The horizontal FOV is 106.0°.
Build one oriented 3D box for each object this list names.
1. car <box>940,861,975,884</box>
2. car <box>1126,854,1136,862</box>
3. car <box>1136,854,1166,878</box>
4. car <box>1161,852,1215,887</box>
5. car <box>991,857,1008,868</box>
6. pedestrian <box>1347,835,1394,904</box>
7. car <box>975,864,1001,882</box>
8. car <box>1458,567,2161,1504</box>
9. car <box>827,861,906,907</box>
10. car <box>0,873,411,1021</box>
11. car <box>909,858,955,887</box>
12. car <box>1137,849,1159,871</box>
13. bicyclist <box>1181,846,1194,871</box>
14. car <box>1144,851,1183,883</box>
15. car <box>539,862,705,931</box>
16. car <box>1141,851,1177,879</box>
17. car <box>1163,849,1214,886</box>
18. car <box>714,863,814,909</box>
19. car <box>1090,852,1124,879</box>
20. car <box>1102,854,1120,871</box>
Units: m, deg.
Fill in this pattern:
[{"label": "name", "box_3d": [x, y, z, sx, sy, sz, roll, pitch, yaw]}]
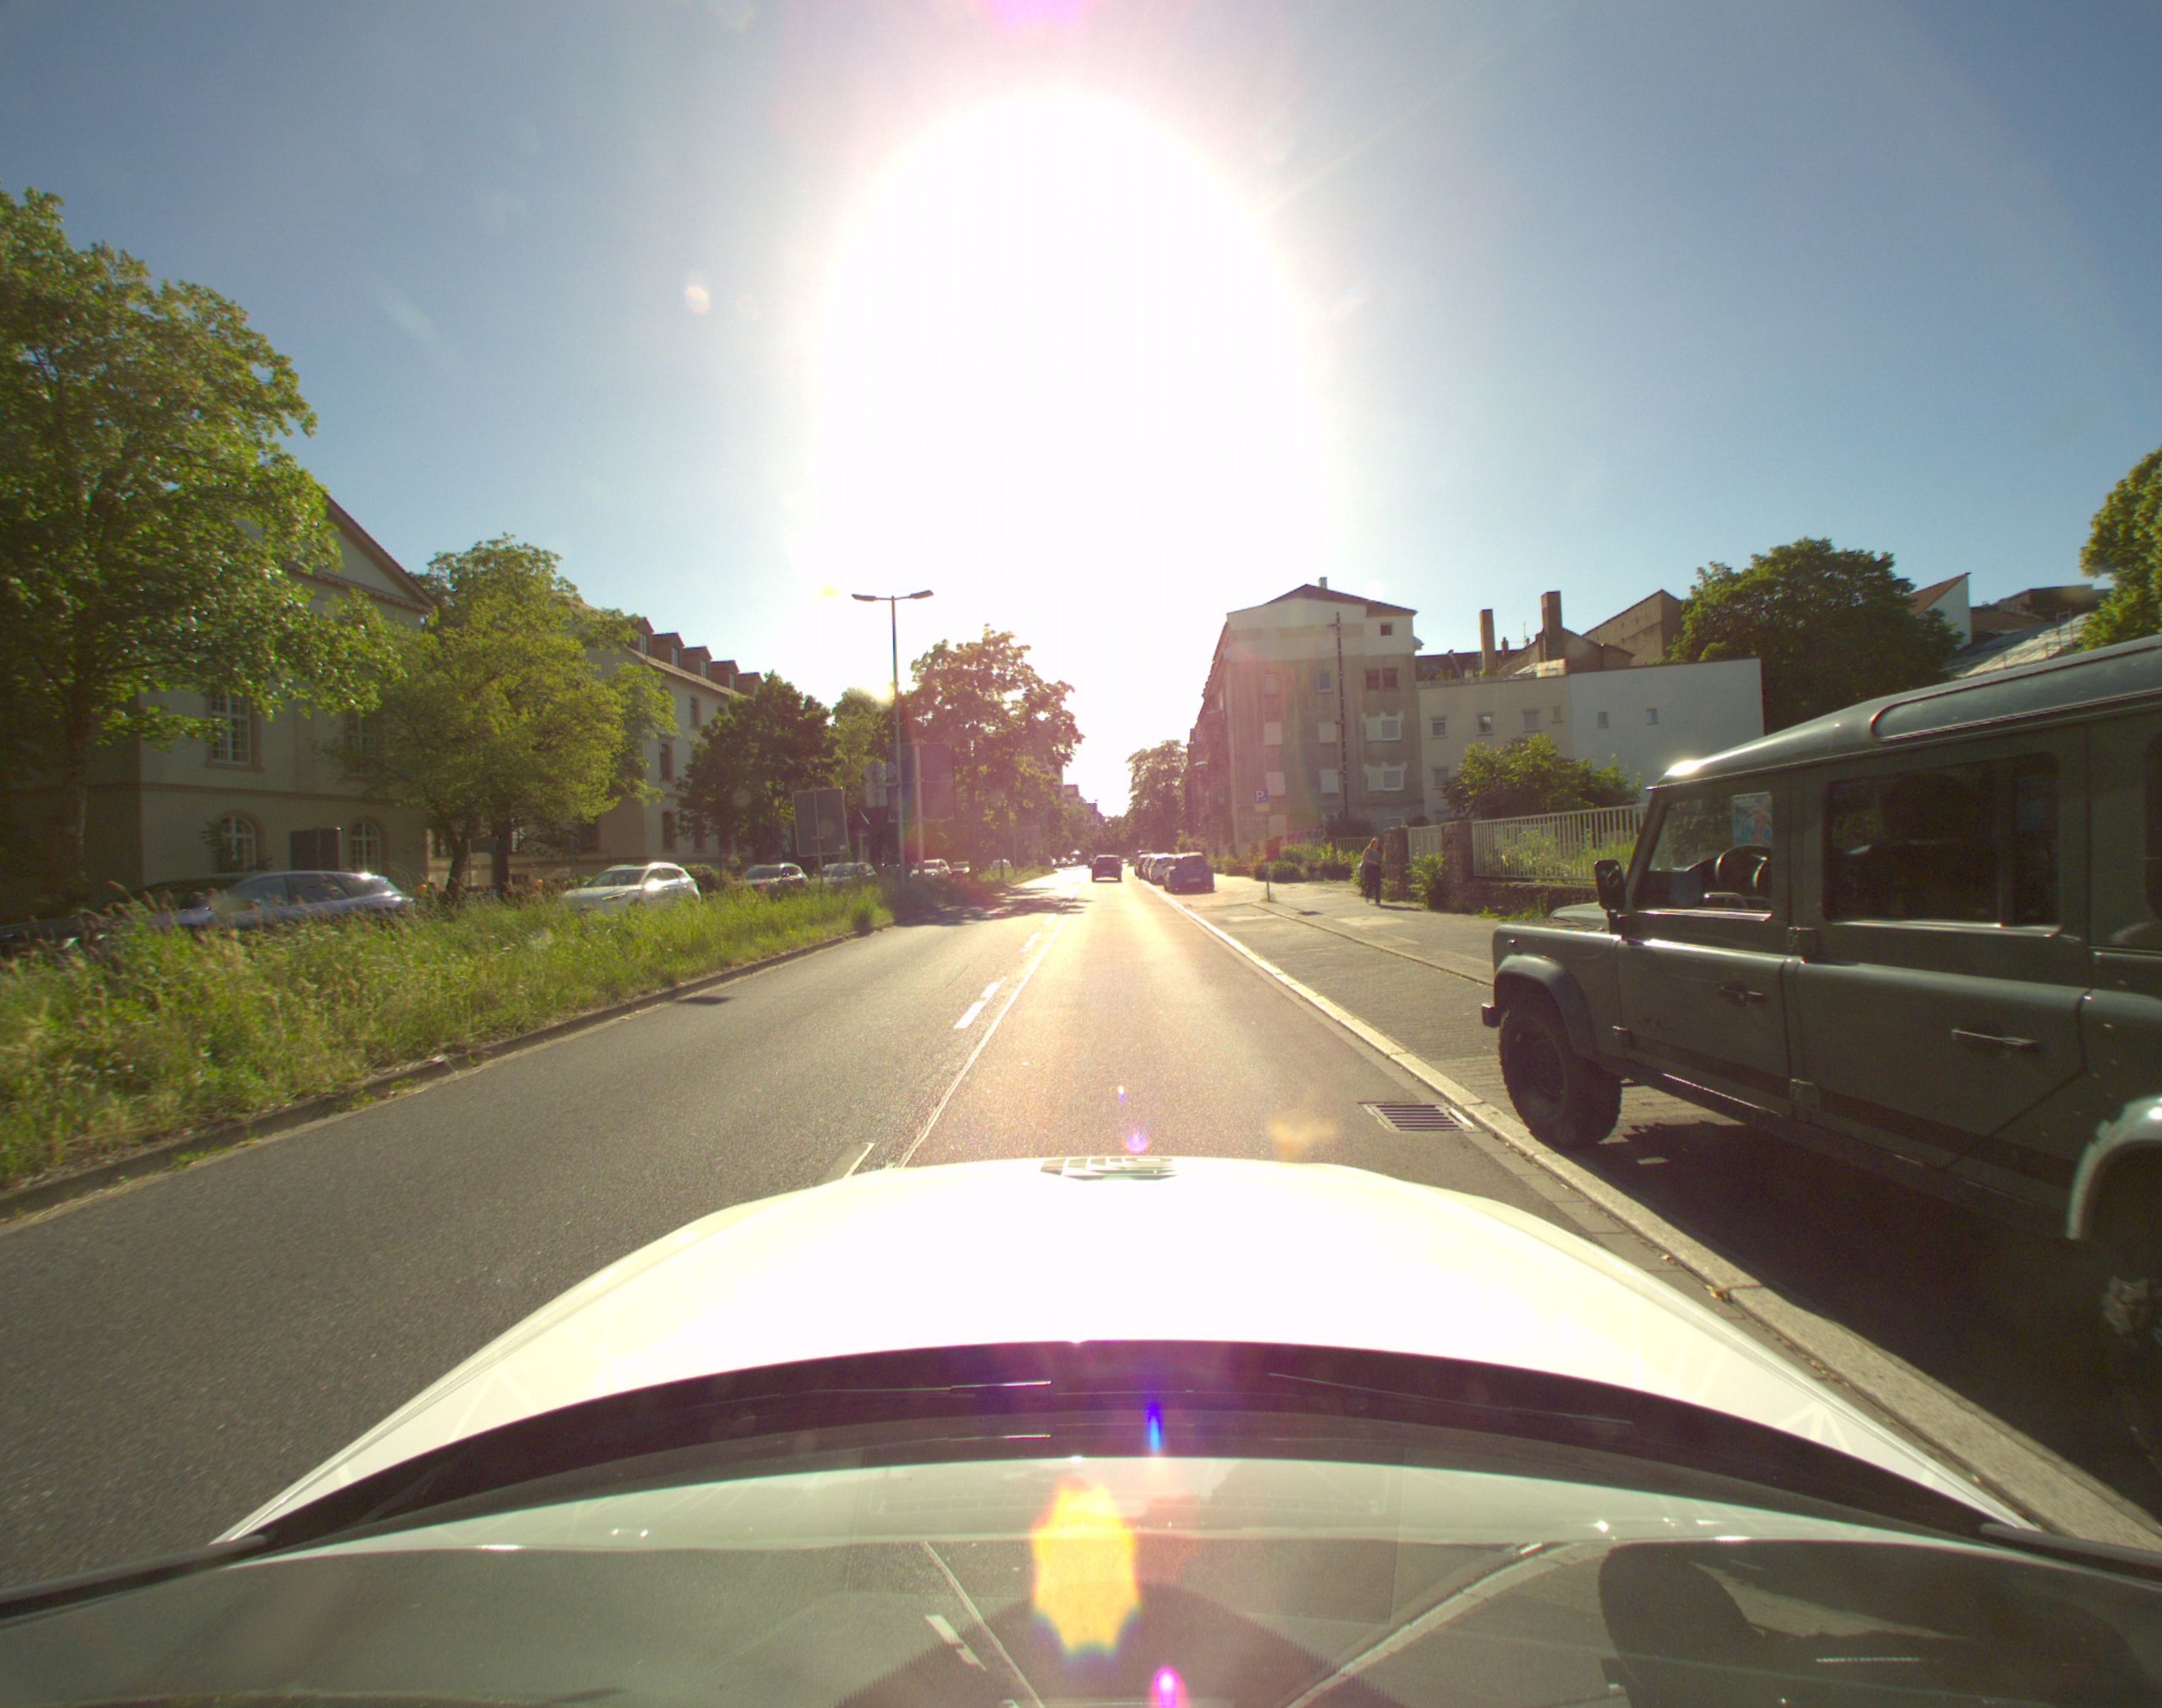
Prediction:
[{"label": "car", "box_3d": [-9.222, 1.363, 61.045, 1.789, 1.519, 4.087, -4, -1, 1]}, {"label": "car", "box_3d": [10.572, 0.833, 171.532, 1.911, 1.640, 4.005, -2, 0, 5]}, {"label": "car", "box_3d": [4.578, 0.776, 53.674, 1.662, 1.393, 3.776, -3, 0, 1]}, {"label": "car", "box_3d": [4.319, 0.594, 33.381, 1.662, 1.182, 3.901, -5, 0, 0]}, {"label": "car", "box_3d": [-13.936, 1.458, 139.487, 1.980, 1.662, 3.976, -2, 0, -18]}, {"label": "pedestrian", "box_3d": [7.005, 0.358, 19.732, 0.740, 1.583, 0.897, -4, 0, 2]}, {"label": "car", "box_3d": [-8.291, 1.671, 72.915, 1.632, 1.519, 4.259, -2, 0, 1]}, {"label": "car", "box_3d": [3.153, 0.369, 2.659, 1.654, 2.013, 4.778, -3, -1, 2]}, {"label": "car", "box_3d": [-8.096, 1.178, 31.142, 1.746, 1.618, 4.324, -1, -3, 2]}, {"label": "car", "box_3d": [-11.976, 1.093, 11.182, 1.789, 1.519, 4.445, -2, 0, 1]}, {"label": "car", "box_3d": [-9.416, 1.151, 51.798, 1.894, 1.626, 4.537, -3, 0, 1]}, {"label": "car", "box_3d": [5.936, 0.517, 72.541, 1.811, 1.844, 4.370, -3, 0, 5]}, {"label": "bicyclist", "box_3d": [7.042, 0.298, 53.764, 0.738, 1.580, 1.101, -1, 1, 4]}, {"label": "car", "box_3d": [4.320, 0.670, 42.945, 1.603, 1.446, 3.659, -5, 0, 1]}, {"label": "car", "box_3d": [-11.734, 1.024, 21.202, 1.789, 1.519, 4.259, -2, 0, 1]}, {"label": "car", "box_3d": [4.602, 0.615, 48.269, 1.663, 1.519, 3.659, -3, 0, -1]}, {"label": "car", "box_3d": [4.959, 0.591, 37.991, 1.663, 1.459, 3.983, -5, 0, -2]}, {"label": "car", "box_3d": [-11.258, 1.121, 29.290, 1.789, 1.519, 4.259, -1, -2, 2]}, {"label": "car", "box_3d": [1.518, 0.676, 48.755, 1.889, 1.519, 3.999, 0, 0, -1]}, {"label": "car", "box_3d": [3.028, 0.853, 83.248, 1.785, 1.520, 3.851, -1, 1, 2]}]
